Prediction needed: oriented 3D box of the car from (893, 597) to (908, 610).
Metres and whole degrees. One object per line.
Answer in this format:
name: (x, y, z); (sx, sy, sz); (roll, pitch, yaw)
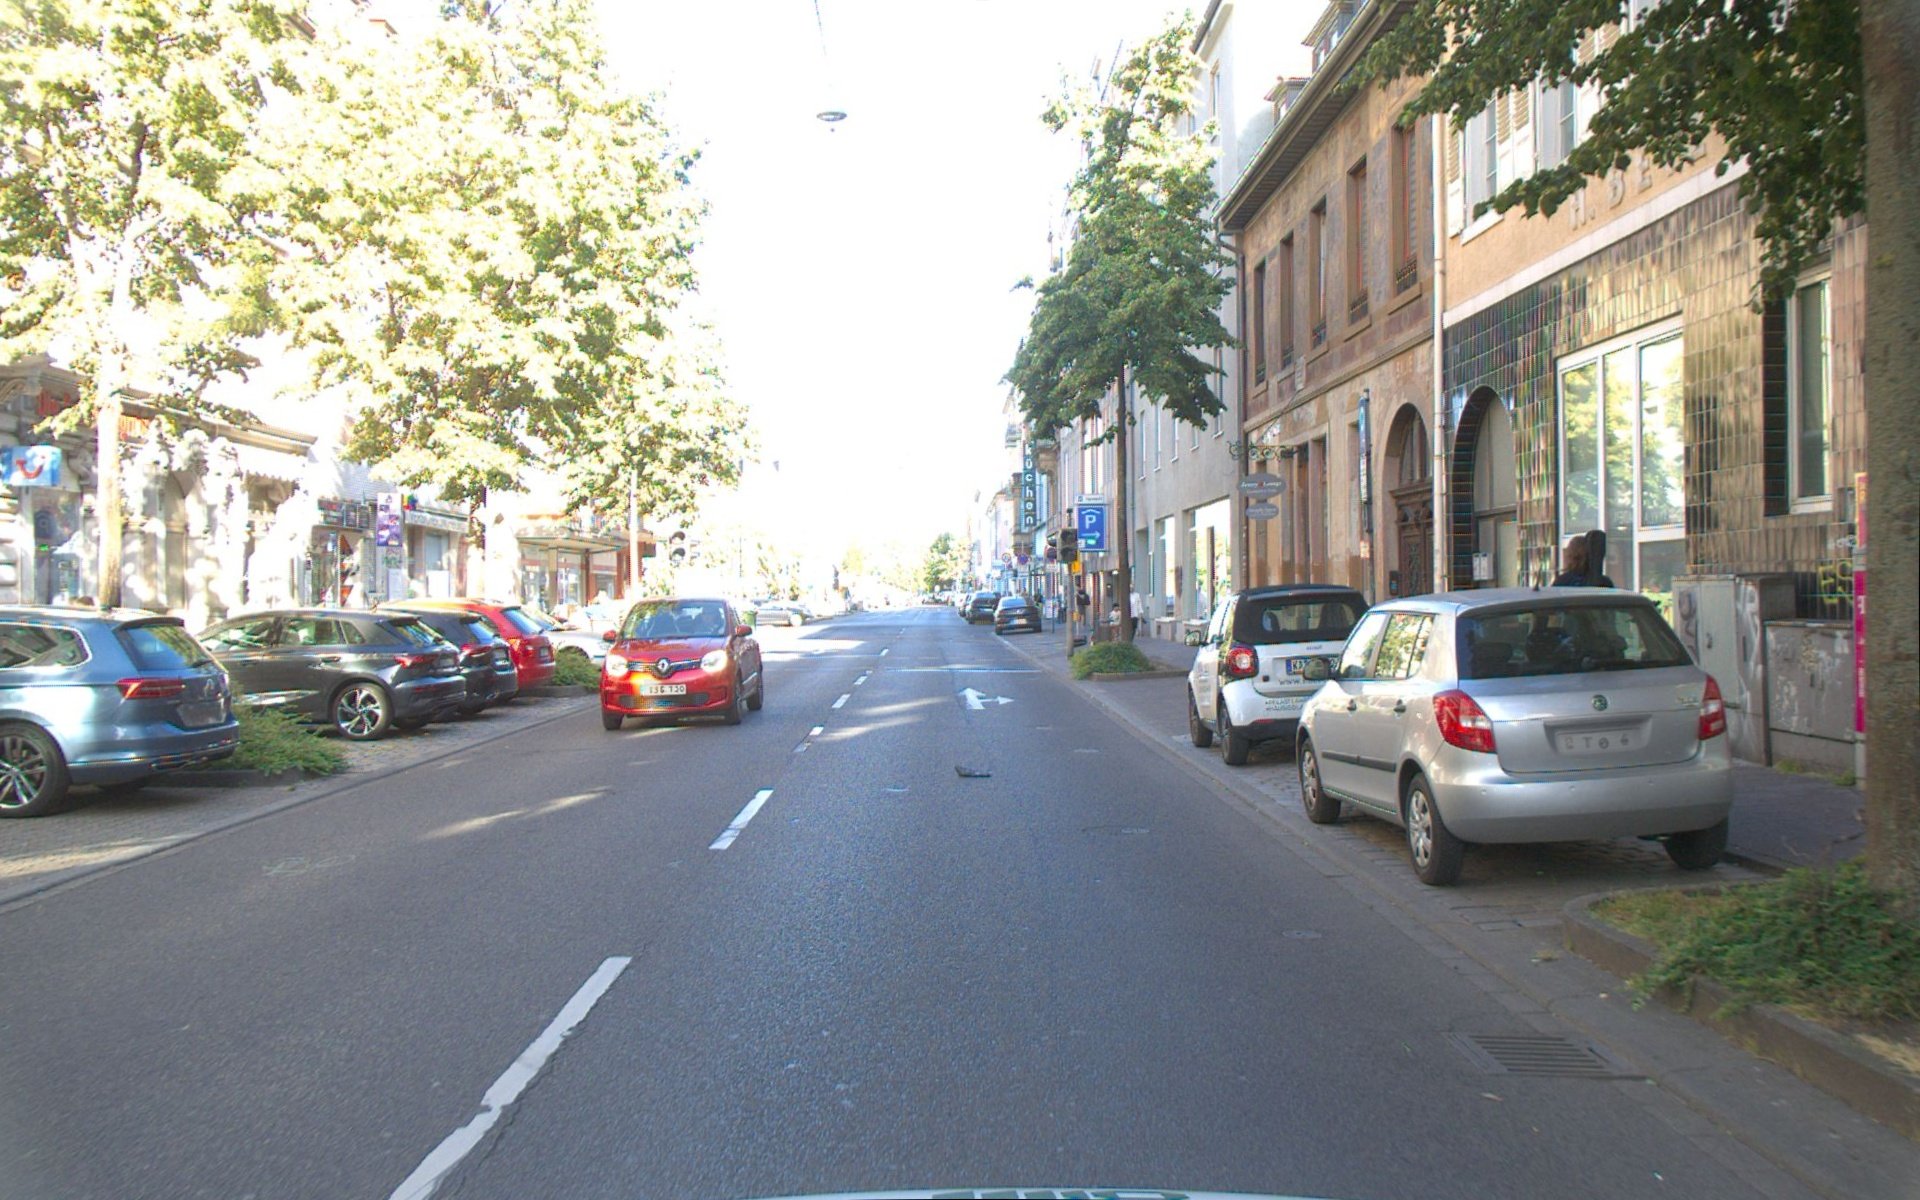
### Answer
car: (-8.530, 0.531, 236.469); (1.952, 1.803, 4.000); (0, 1, 0)

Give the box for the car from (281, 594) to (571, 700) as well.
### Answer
car: (-7.722, 0.658, 24.179); (3.672, 1.494, 1.739); (0, 0, -2)

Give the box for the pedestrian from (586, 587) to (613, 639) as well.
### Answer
pedestrian: (-11.708, 0.417, 53.775); (0.651, 1.688, 1.036); (-1, 0, -2)

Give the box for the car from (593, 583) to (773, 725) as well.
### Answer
car: (-3.397, 0.616, 20.869); (1.624, 1.562, 3.760); (-2, 0, -1)

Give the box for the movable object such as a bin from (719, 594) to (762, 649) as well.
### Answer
movable object such as a bin: (-6.157, 0.582, 46.490); (1.021, 1.497, 1.452); (-1, 0, -2)

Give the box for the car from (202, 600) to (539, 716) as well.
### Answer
car: (-7.624, 0.726, 21.646); (3.762, 1.454, 1.789); (0, 0, 0)

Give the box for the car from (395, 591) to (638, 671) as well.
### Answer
car: (-8.376, 0.569, 31.468); (4.116, 1.494, 1.740); (0, 0, 1)

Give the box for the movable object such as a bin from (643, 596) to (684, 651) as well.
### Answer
movable object such as a bin: (-8.286, 0.647, 46.262); (0.944, 1.497, 1.143); (-1, 0, -2)

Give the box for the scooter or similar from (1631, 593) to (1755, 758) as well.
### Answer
scooter or similar: (5.683, 0.558, 12.878); (0.391, 1.207, 1.168); (-3, 0, 0)

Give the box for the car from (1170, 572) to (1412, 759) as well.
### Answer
car: (3.085, 0.567, 15.969); (1.581, 1.555, 3.059); (-3, 0, -2)

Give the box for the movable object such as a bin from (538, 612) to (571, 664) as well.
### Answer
movable object such as a bin: (-8.793, 0.816, 35.853); (0.520, 1.088, 0.805); (-1, 0, -2)

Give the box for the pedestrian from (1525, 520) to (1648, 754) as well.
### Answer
pedestrian: (5.028, 0.288, 13.308); (0.610, 1.796, 0.771); (-3, 0, 0)

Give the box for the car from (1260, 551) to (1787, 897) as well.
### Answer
car: (3.113, 0.589, 10.114); (1.581, 1.555, 4.233); (-4, 0, -2)

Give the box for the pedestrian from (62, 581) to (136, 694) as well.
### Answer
pedestrian: (-11.202, 0.470, 21.532); (0.497, 1.433, 0.825); (0, 0, 3)

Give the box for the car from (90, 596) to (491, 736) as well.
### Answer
car: (-7.535, 0.718, 18.880); (3.838, 1.511, 1.771); (0, 0, 0)

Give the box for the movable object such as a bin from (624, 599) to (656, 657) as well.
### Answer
movable object such as a bin: (-7.655, 0.656, 39.573); (0.621, 1.364, 0.805); (-1, 0, -2)

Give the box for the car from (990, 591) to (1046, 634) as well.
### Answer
car: (2.252, 0.480, 65.720); (1.879, 1.504, 4.963); (-5, 0, -1)

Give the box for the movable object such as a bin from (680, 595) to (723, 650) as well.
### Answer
movable object such as a bin: (-7.234, 0.620, 46.359); (1.021, 1.497, 1.143); (-1, 0, -2)

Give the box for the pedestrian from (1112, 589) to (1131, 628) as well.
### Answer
pedestrian: (4.520, 0.244, 46.298); (0.385, 1.051, 0.739); (-4, 0, -2)

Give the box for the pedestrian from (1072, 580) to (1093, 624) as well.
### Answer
pedestrian: (4.764, 0.058, 64.332); (0.678, 1.664, 0.889); (-3, 0, -2)

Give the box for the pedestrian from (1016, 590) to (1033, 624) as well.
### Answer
pedestrian: (3.290, 0.368, 84.799); (0.784, 1.704, 0.589); (-2, 0, 2)

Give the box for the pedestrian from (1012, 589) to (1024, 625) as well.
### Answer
pedestrian: (2.974, 0.352, 84.828); (0.607, 1.797, 0.518); (-1, 0, 2)

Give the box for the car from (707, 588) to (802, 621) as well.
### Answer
car: (-9.932, 0.201, 80.013); (4.233, 1.513, 1.912); (0, 0, -42)

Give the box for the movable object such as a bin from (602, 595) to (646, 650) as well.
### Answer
movable object such as a bin: (-9.395, 0.632, 46.291); (1.021, 1.497, 1.143); (-1, 0, -2)

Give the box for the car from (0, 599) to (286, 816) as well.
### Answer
car: (-7.653, 0.740, 12.435); (4.402, 1.484, 1.789); (1, 0, -2)

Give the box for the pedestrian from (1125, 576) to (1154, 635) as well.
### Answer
pedestrian: (5.024, 0.153, 46.389); (0.569, 1.586, 1.020); (-4, 0, -2)

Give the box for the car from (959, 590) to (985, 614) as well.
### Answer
car: (0.864, 0.177, 121.491); (1.682, 1.664, 4.082); (1, -1, -3)

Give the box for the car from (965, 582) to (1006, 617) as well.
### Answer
car: (1.291, -0.056, 85.292); (1.933, 1.755, 4.823); (1, 0, -1)

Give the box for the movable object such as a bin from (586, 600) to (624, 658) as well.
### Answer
movable object such as a bin: (-8.476, 0.684, 39.536); (0.739, 1.364, 0.805); (-1, 0, -2)
